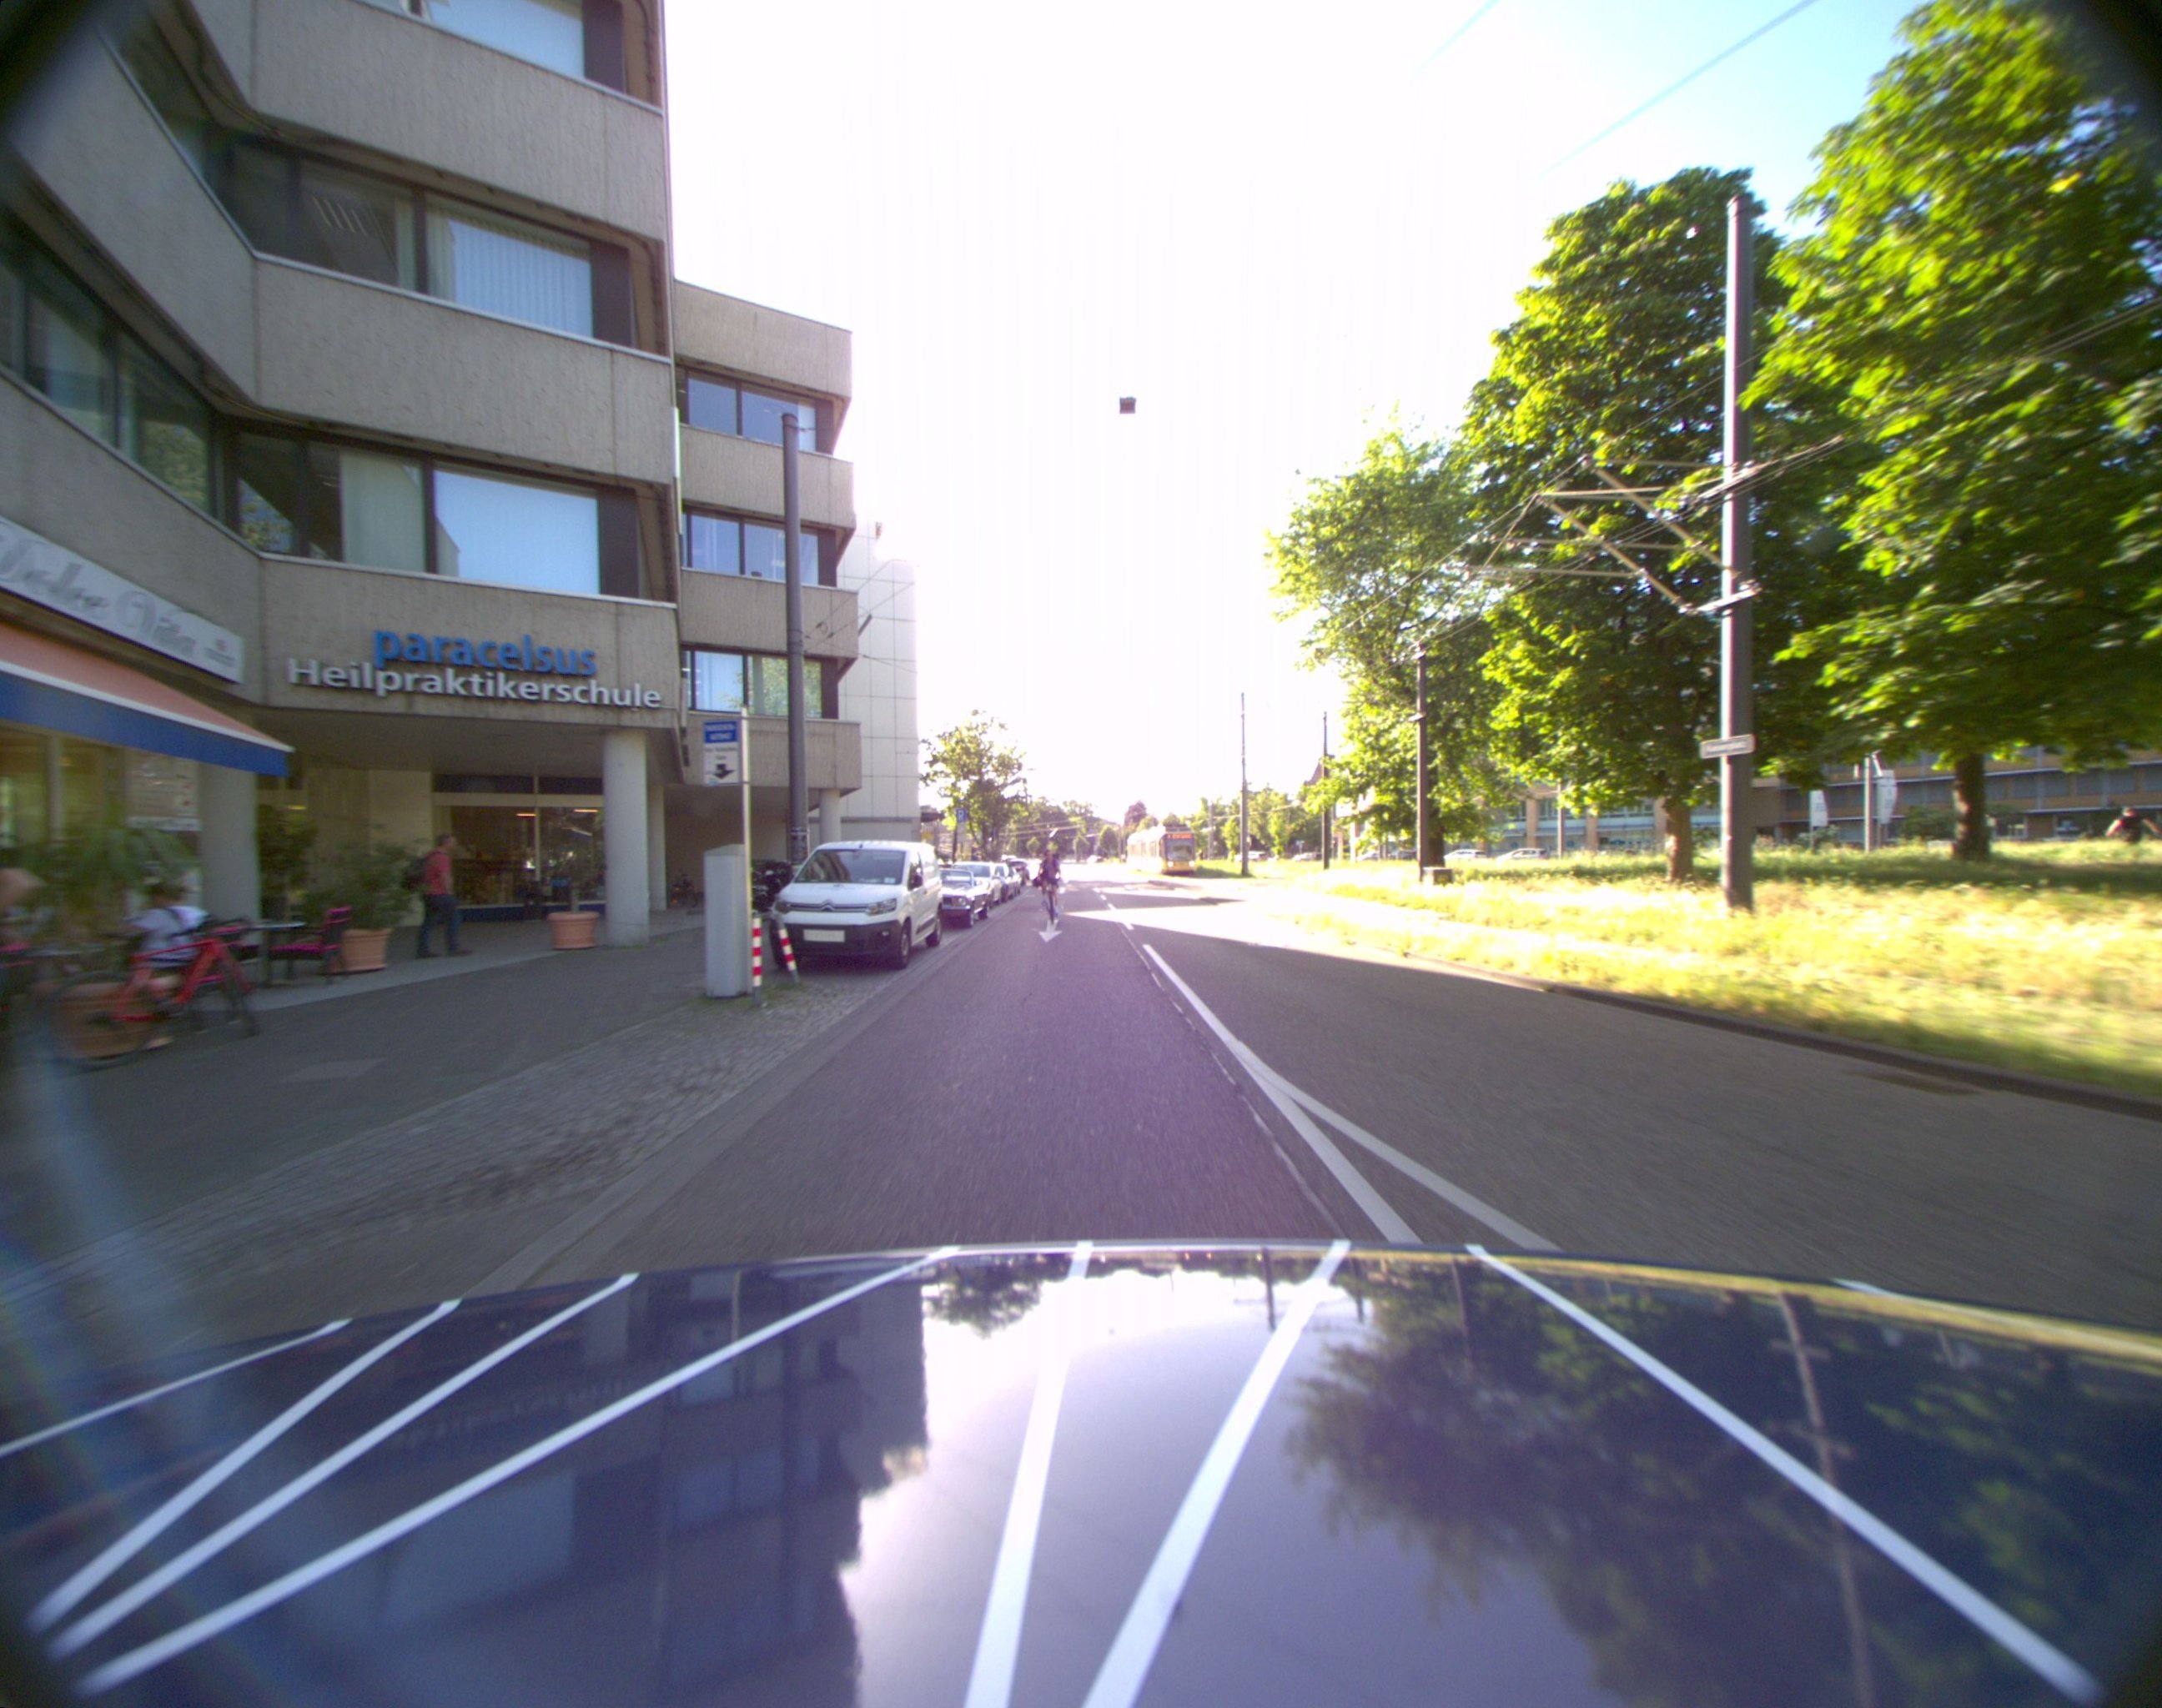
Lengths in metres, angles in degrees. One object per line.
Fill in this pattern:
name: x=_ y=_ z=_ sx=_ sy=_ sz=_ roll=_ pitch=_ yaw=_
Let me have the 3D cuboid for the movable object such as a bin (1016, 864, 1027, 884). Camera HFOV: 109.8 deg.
movable object such as a bin: x=-3.305 y=1.111 z=42.219 sx=0.606 sy=1.063 sz=0.545 roll=-3 pitch=2 yaw=-4

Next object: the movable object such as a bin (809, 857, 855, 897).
movable object such as a bin: x=-9.301 y=0.853 z=28.429 sx=1.303 sy=1.425 sz=0.959 roll=-2 pitch=2 yaw=7

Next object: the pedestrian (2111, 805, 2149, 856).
pedestrian: x=34.070 y=-0.757 z=24.680 sx=0.553 sy=1.606 sz=0.676 roll=-1 pitch=2 yaw=37

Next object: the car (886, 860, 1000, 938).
car: x=-3.211 y=0.983 z=18.658 sx=1.778 sy=1.445 sz=4.730 roll=-2 pitch=1 yaw=1

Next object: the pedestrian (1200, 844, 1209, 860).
pedestrian: x=13.617 y=-0.217 z=83.648 sx=0.736 sy=1.661 sz=0.743 roll=-2 pitch=1 yaw=-17

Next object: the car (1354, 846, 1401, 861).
car: x=35.786 y=-0.033 z=91.758 sx=2.127 sy=1.659 sz=5.200 roll=-3 pitch=2 yaw=-25

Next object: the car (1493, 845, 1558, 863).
car: x=38.973 y=-0.026 z=66.710 sx=2.003 sy=1.419 sz=4.500 roll=-3 pitch=2 yaw=-29

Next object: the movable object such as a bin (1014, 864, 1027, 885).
movable object such as a bin: x=-3.311 y=1.120 z=41.651 sx=0.612 sy=1.099 sz=0.525 roll=-3 pitch=2 yaw=-4

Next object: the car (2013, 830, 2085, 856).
car: x=66.226 y=-0.747 z=52.080 sx=1.994 sy=1.572 sz=4.007 roll=-1 pitch=2 yaw=36

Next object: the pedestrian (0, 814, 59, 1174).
pedestrian: x=-5.877 y=0.717 z=3.795 sx=0.672 sy=1.846 sz=0.610 roll=1 pitch=2 yaw=2

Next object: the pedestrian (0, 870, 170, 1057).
pedestrian: x=-9.132 y=0.945 z=6.875 sx=0.664 sy=1.547 sz=0.843 roll=-3 pitch=1 yaw=-4

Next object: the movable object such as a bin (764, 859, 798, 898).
movable object such as a bin: x=-11.254 y=0.925 z=28.556 sx=0.794 sy=1.375 sz=0.852 roll=-2 pitch=2 yaw=7

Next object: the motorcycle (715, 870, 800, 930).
motorcycle: x=-7.178 y=0.990 z=16.992 sx=0.765 sy=1.148 sz=2.048 roll=1 pitch=2 yaw=9

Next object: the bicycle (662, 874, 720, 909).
bicycle: x=-11.762 y=1.127 z=22.882 sx=1.853 sy=0.975 sz=0.683 roll=-2 pitch=0 yaw=34

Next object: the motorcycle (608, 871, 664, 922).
motorcycle: x=-11.058 y=1.028 z=18.947 sx=0.513 sy=1.161 sz=2.099 roll=-3 pitch=0 yaw=-12

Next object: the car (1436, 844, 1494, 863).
car: x=36.464 y=-0.049 z=72.268 sx=2.002 sy=1.587 sz=4.646 roll=-3 pitch=2 yaw=-27

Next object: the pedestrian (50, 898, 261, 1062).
pedestrian: x=-7.660 y=1.003 z=6.340 sx=0.664 sy=1.191 sz=0.843 roll=-3 pitch=1 yaw=-6

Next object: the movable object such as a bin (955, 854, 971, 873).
movable object such as a bin: x=-10.855 y=0.835 z=69.910 sx=1.261 sy=1.699 sz=0.943 roll=-1 pitch=2 yaw=-26

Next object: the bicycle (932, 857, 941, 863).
bicycle: x=-22.481 y=0.959 z=118.272 sx=1.435 sy=1.005 sz=0.410 roll=0 pitch=1 yaw=-24

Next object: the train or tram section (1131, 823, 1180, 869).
train or tram section: x=6.431 y=-0.691 z=67.753 sx=2.956 sy=3.591 sz=13.634 roll=-2 pitch=0 yaw=0

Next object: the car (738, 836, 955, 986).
car: x=-3.301 y=0.666 z=11.716 sx=1.999 sy=1.802 sz=4.308 roll=-3 pitch=1 yaw=-1

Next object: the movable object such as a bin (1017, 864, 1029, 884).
movable object such as a bin: x=-3.284 y=1.112 z=42.843 sx=0.608 sy=1.063 sz=0.613 roll=-3 pitch=2 yaw=-5

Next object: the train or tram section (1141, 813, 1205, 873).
train or tram section: x=6.328 y=-0.714 z=54.680 sx=2.956 sy=3.664 sz=13.183 roll=-2 pitch=0 yaw=0

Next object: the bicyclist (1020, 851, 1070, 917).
bicyclist: x=-0.850 y=0.708 z=18.243 sx=1.040 sy=1.476 sz=0.988 roll=-2 pitch=2 yaw=3

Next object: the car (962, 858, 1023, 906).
car: x=-3.305 y=1.005 z=29.164 sx=1.675 sy=1.510 sz=4.198 roll=-2 pitch=1 yaw=2

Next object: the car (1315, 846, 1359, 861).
car: x=29.162 y=-0.073 z=86.633 sx=2.002 sy=1.508 sz=4.652 roll=-3 pitch=2 yaw=-26

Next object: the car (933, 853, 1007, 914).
car: x=-3.573 y=0.905 z=25.115 sx=1.856 sy=1.679 sz=3.865 roll=-3 pitch=1 yaw=-1

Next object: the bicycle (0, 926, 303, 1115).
bicycle: x=-7.059 y=1.167 z=5.757 sx=0.564 sy=1.028 sz=1.644 roll=-3 pitch=2 yaw=0

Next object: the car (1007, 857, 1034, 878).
car: x=-4.307 y=0.912 z=54.690 sx=1.770 sy=1.430 sz=4.582 roll=-1 pitch=0 yaw=-3

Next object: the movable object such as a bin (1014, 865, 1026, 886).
movable object such as a bin: x=-3.280 y=1.153 z=41.059 sx=0.594 sy=1.077 sz=0.604 roll=-3 pitch=2 yaw=-4

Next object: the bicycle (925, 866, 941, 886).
bicycle: x=-7.633 y=1.135 z=39.302 sx=0.536 sy=0.886 sz=2.069 roll=-3 pitch=1 yaw=-4

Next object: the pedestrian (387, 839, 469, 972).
pedestrian: x=-9.385 y=0.708 z=10.959 sx=0.718 sy=1.806 sz=0.704 roll=-4 pitch=2 yaw=-34

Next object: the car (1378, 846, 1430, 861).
car: x=33.407 y=-0.069 z=78.713 sx=2.002 sy=1.439 sz=5.009 roll=-3 pitch=2 yaw=-22

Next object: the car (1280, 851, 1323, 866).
car: x=26.620 y=0.584 z=91.818 sx=2.109 sy=1.724 sz=5.075 roll=-2 pitch=0 yaw=-27

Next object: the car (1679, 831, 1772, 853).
car: x=46.553 y=-0.827 z=54.964 sx=2.003 sy=1.346 sz=4.756 roll=-3 pitch=0 yaw=-35

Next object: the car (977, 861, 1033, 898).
car: x=-3.334 y=1.076 z=34.011 sx=1.856 sy=1.336 sz=4.599 roll=-2 pitch=1 yaw=2

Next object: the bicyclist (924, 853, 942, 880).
bicyclist: x=-7.647 y=0.645 z=39.338 sx=0.760 sy=1.319 sz=0.993 roll=-3 pitch=2 yaw=-5

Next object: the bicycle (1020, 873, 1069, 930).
bicycle: x=-0.833 y=1.100 z=18.184 sx=0.887 sy=1.129 sz=2.229 roll=-2 pitch=2 yaw=4
